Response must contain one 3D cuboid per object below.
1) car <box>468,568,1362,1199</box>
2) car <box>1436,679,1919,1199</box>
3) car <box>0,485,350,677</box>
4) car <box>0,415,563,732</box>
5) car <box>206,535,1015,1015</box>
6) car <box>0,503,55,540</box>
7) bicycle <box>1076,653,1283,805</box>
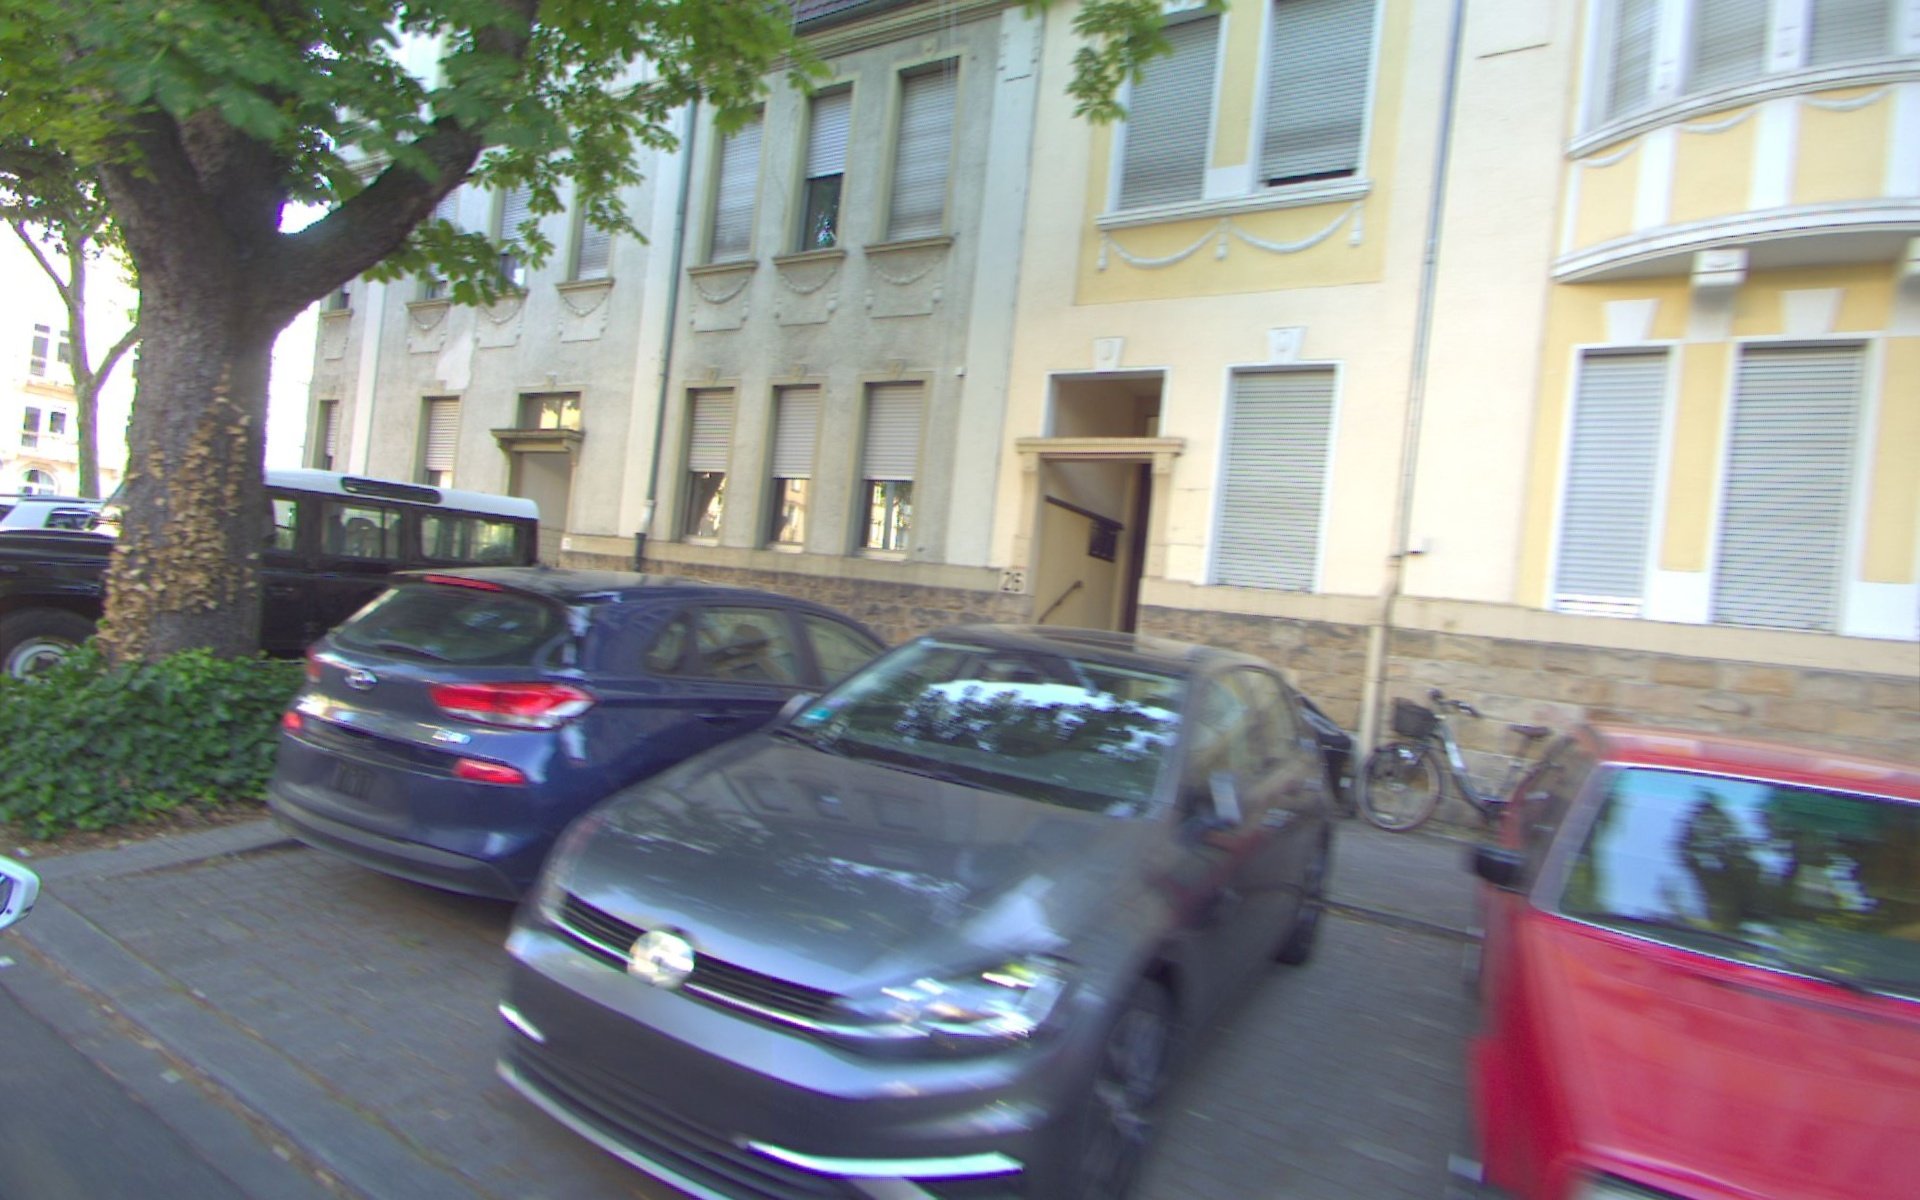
[{"bbox_3d":[0.418,0.793,4.052,1.601,1.440,4.053,6,0,29],"label":"car"},{"bbox_3d":[2.475,1.046,3.108,1.532,1.337,3.915,6,0,29],"label":"car"},{"bbox_3d":[-8.279,-0.179,9.864,1.680,1.606,3.488,7,0,26],"label":"car"},{"bbox_3d":[-5.835,-0.153,8.354,1.762,1.981,4.495,7,1,30],"label":"car"},{"bbox_3d":[-1.316,0.616,5.200,1.601,1.440,3.753,6,0,29],"label":"car"},{"bbox_3d":[-34.424,-2.928,35.514,1.357,1.081,3.369,7,-1,31],"label":"car"},{"bbox_3d":[1.979,1.132,9.198,1.676,1.090,0.500,7,2,32],"label":"bicycle"}]
